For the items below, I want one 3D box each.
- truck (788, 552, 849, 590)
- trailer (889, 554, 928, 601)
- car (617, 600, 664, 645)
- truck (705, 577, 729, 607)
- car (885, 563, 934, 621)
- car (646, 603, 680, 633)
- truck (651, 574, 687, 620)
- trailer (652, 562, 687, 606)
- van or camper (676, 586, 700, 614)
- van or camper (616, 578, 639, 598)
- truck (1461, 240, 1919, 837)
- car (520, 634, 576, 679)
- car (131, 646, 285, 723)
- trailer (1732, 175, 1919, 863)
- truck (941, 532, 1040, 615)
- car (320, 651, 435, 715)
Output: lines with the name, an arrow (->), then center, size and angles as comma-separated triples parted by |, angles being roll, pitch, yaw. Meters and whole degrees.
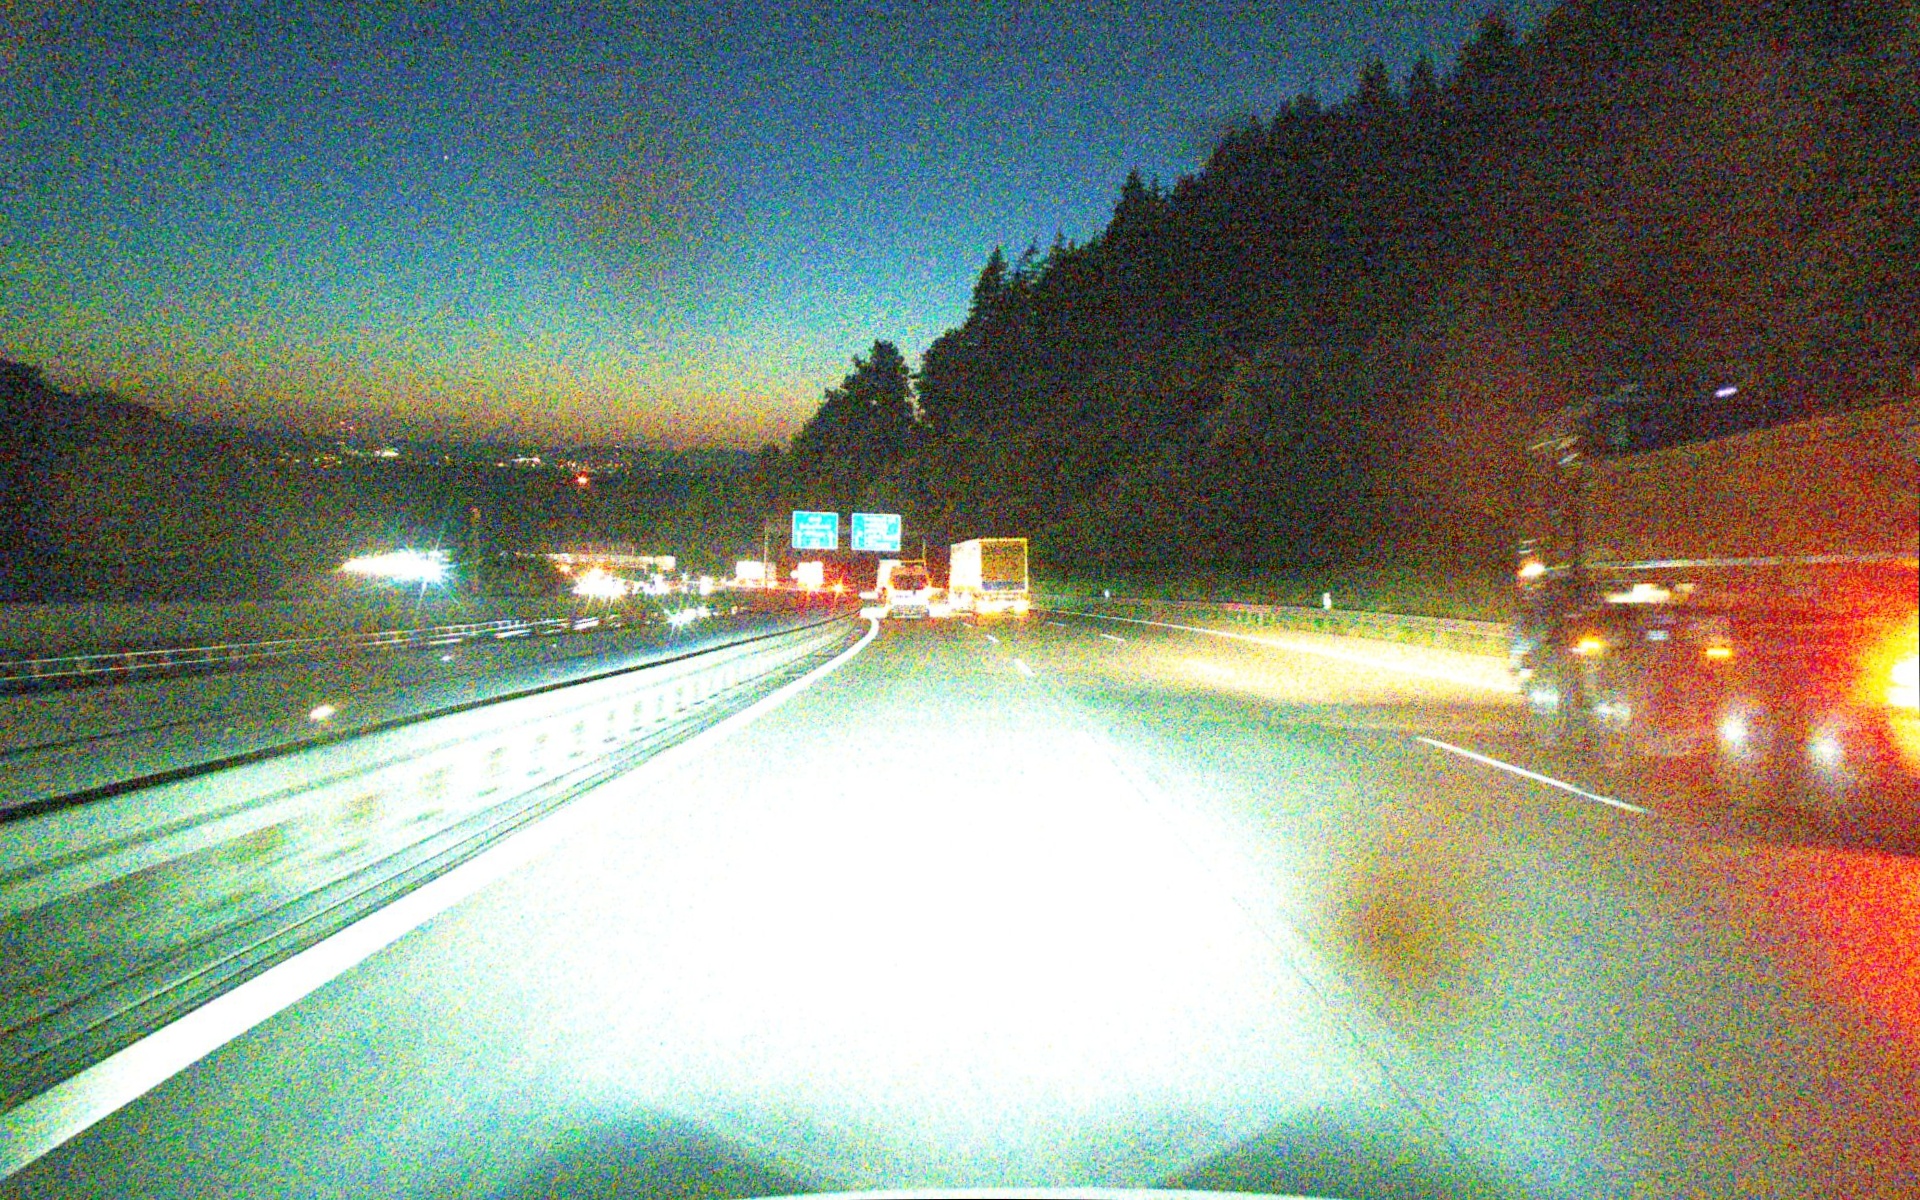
truck -> -19.452, -4.027, 225.589 | 3.854, 4.707, 20.920 | -3, 2, -17
trailer -> -5.220, -2.329, 164.394 | 2.799, 4.137, 13.191 | -1, 3, -6
car -> -18.873, 1.298, 97.945 | 1.987, 2.484, 5.691 | -1, 0, -4
truck -> -30.091, -0.975, 204.804 | 2.607, 3.654, 8.527 | -1, 0, -11
car -> -2.422, -0.401, 80.755 | 2.289, 2.686, 5.246 | 1, 0, -1
car -> -22.650, 1.327, 126.174 | 2.098, 2.090, 5.106 | -2, 1, -6
truck -> -29.194, -0.332, 165.828 | 3.357, 4.296, 6.267 | -3, 1, -10
trailer -> -30.032, -1.637, 171.170 | 3.373, 4.315, 12.801 | -1, 0, -10
van or camper -> -30.798, -0.059, 187.039 | 1.805, 3.023, 6.370 | -2, 1, -17
van or camper -> -49.329, -1.732, 245.290 | 2.409, 2.808, 6.453 | -2, 1, -19
truck -> 7.108, -0.441, 14.888 | 2.808, 3.907, 8.055 | -1, 0, 1
car -> -17.781, 2.428, 71.576 | 1.718, 1.746, 3.996 | -1, 0, -5
car -> -16.314, 1.800, 36.103 | 1.664, 1.422, 3.998 | -1, 0, -3
trailer -> 6.951, -0.506, 5.539 | 2.815, 4.000, 12.887 | 0, -1, 1
truck -> 1.433, -1.402, 93.937 | 3.415, 4.207, 18.686 | -1, 0, -6
car -> -16.133, 2.257, 46.027 | 1.866, 1.479, 4.707 | -1, 0, -5
